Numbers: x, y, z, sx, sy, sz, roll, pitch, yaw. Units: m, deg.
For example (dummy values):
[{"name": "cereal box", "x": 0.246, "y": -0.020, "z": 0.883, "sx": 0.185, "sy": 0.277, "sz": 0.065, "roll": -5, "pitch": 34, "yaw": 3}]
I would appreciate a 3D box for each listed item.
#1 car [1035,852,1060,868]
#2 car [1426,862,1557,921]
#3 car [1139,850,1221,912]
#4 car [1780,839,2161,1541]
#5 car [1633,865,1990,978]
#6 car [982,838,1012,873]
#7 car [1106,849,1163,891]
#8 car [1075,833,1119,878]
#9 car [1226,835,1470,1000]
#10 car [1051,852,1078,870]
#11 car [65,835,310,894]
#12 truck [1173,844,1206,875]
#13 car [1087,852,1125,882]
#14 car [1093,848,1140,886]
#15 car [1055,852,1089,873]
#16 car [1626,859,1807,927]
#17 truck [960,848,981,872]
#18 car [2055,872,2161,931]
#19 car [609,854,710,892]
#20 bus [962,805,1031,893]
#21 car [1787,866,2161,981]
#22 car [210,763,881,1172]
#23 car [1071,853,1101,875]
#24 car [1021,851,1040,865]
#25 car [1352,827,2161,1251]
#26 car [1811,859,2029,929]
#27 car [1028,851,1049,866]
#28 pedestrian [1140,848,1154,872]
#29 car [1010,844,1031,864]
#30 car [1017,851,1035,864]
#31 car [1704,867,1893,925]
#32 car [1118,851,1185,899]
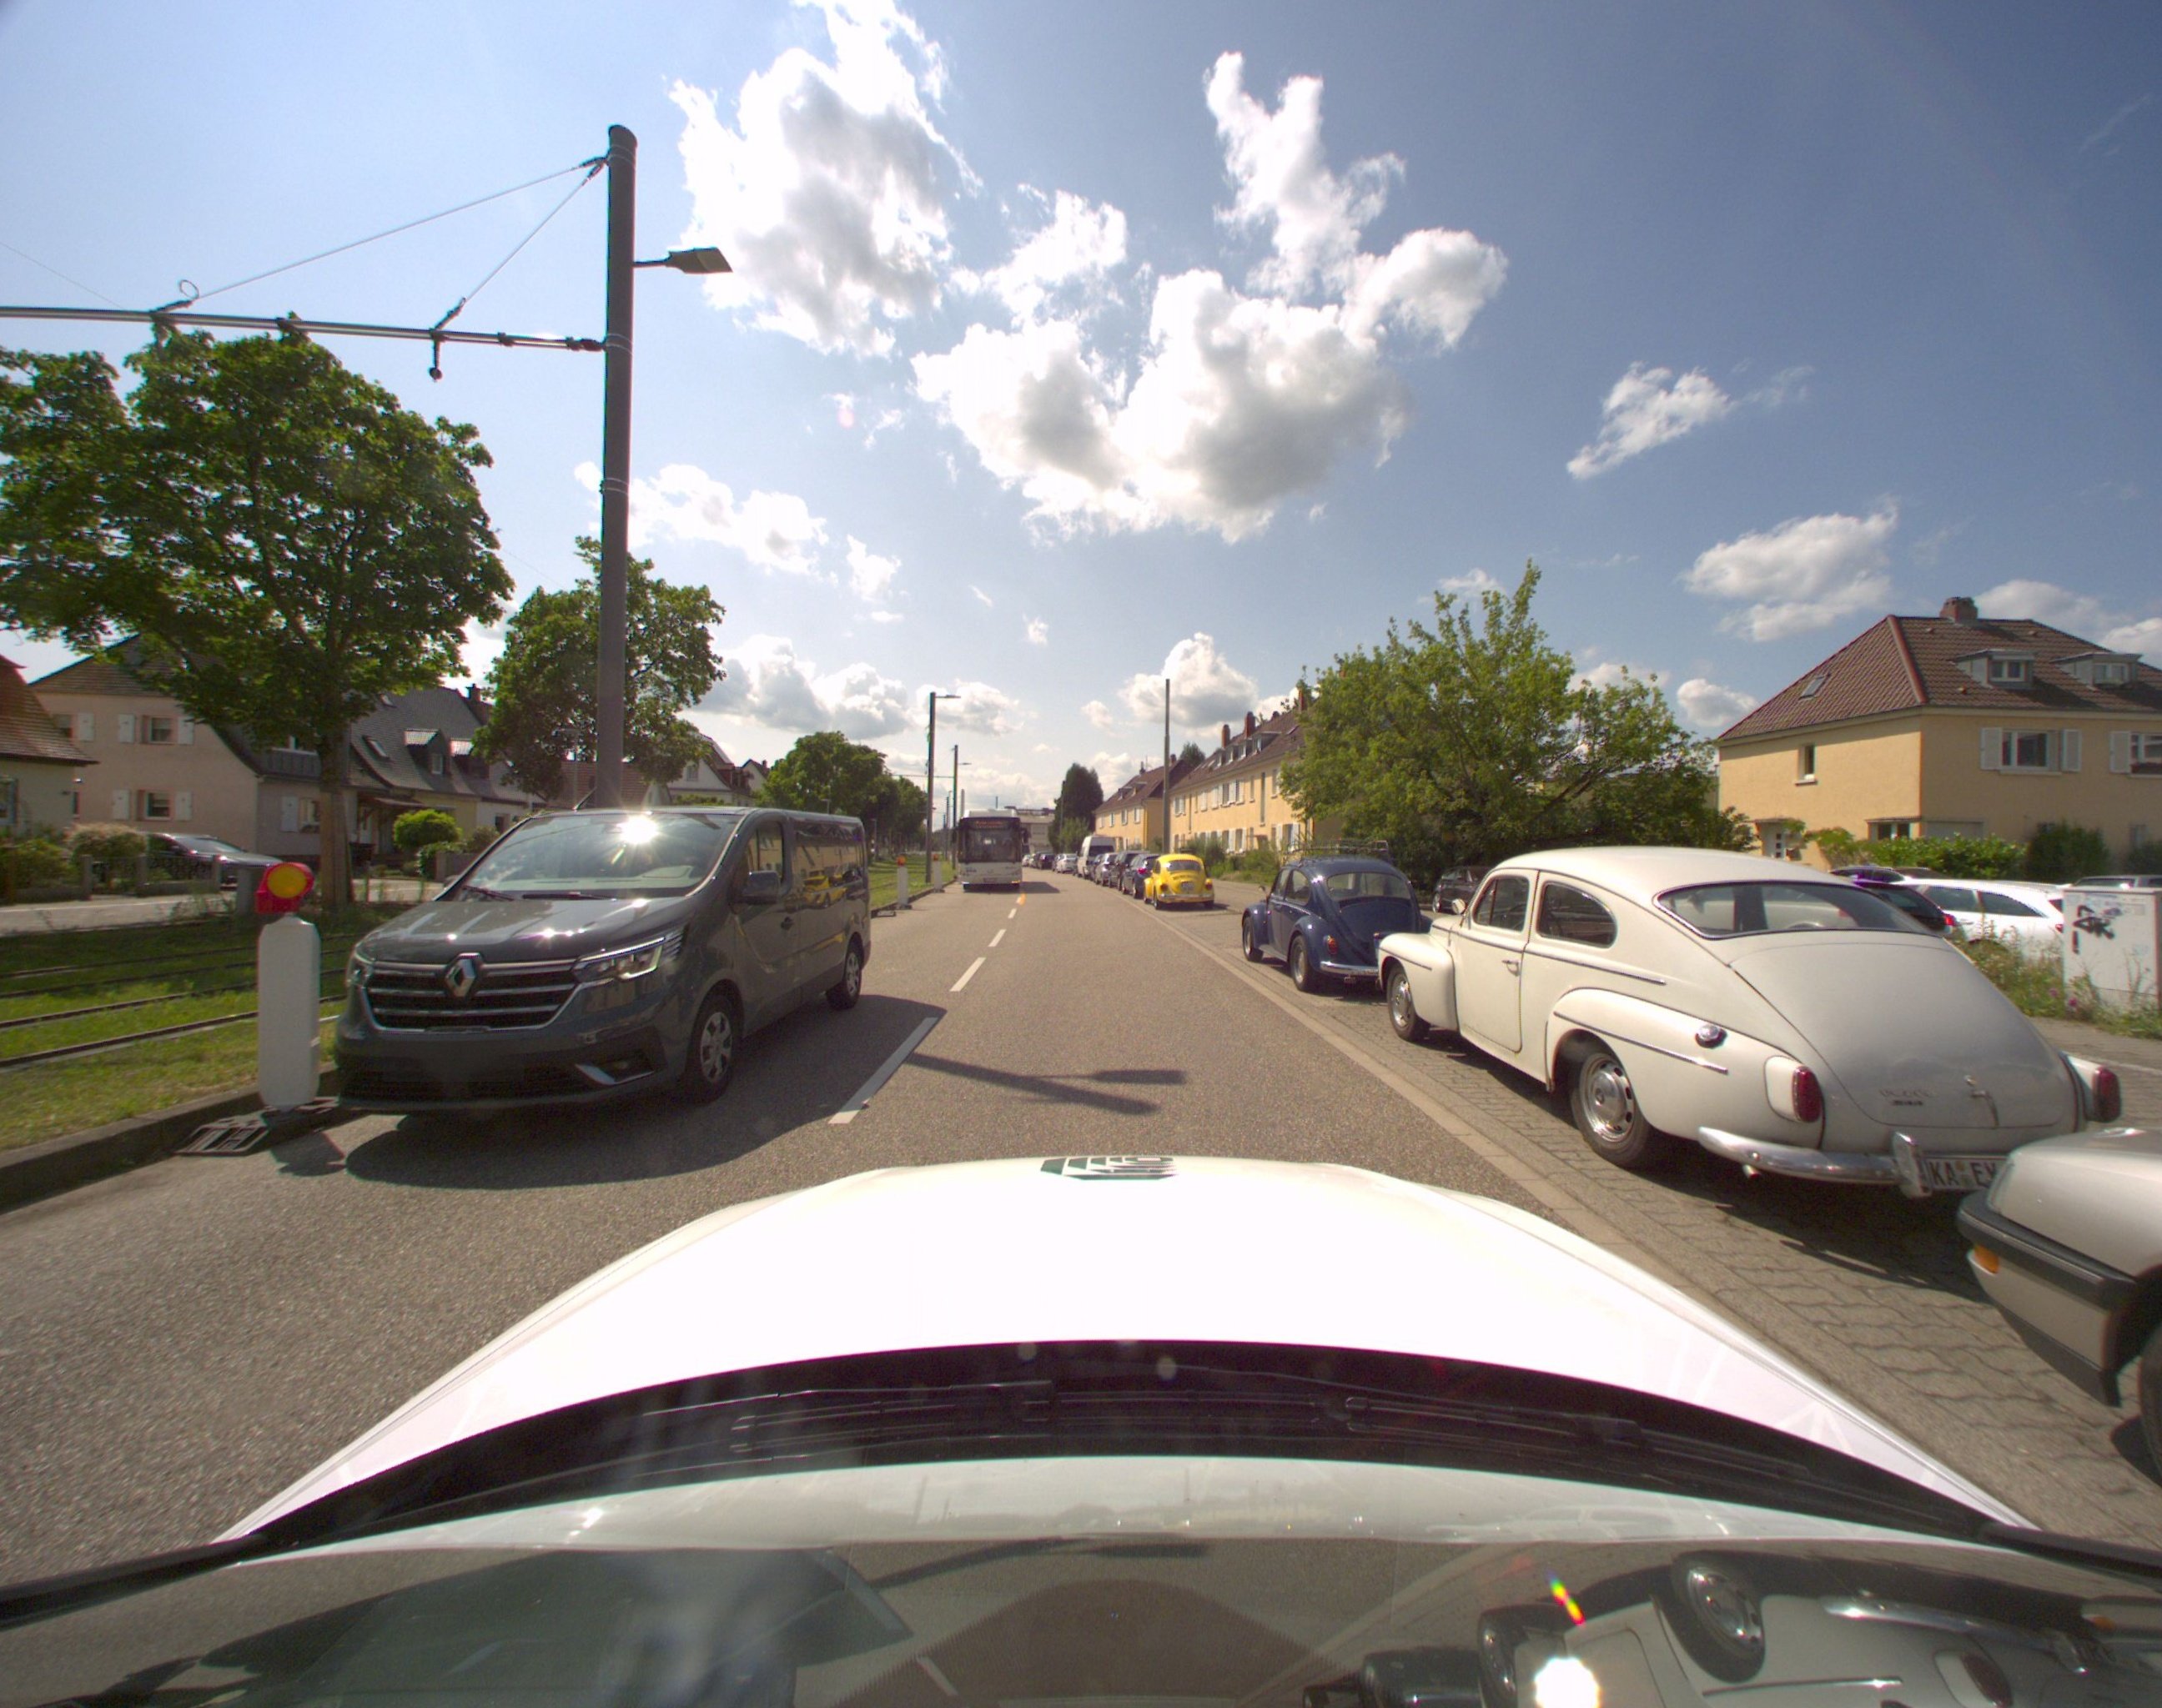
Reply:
[{"name": "car", "x": -3.077, "y": 0.550, "z": 74.419, "sx": 1.763, "sy": 1.417, "sz": 3.987, "roll": -1, "pitch": 0, "yaw": -9}, {"name": "car", "x": 10.719, "y": 0.927, "z": 21.590, "sx": 1.629, "sy": 1.355, "sz": 4.092, "roll": 1, "pitch": 0, "yaw": 4}, {"name": "car", "x": 2.678, "y": 0.680, "z": 22.866, "sx": 1.632, "sy": 1.482, "sz": 3.928, "roll": -2, "pitch": 1, "yaw": -3}, {"name": "car", "x": 3.071, "y": 0.708, "z": 0.202, "sx": 1.701, "sy": 1.449, "sz": 4.835, "roll": 1, "pitch": 0, "yaw": 1}, {"name": "car", "x": 10.673, "y": 0.888, "z": 12.381, "sx": 1.633, "sy": 1.374, "sz": 4.082, "roll": 1, "pitch": 0, "yaw": -4}, {"name": "car", "x": -6.254, "y": 0.106, "z": 61.005, "sx": 2.100, "sy": 2.443, "sz": 5.560, "roll": 1, "pitch": 0, "yaw": -6}, {"name": "car", "x": 2.153, "y": 0.621, "z": 33.480, "sx": 1.634, "sy": 1.602, "sz": 3.922, "roll": 1, "pitch": 0, "yaw": -7}, {"name": "car", "x": 0.837, "y": 0.091, "z": 47.584, "sx": 1.927, "sy": 2.481, "sz": 5.506, "roll": 0, "pitch": 0, "yaw": -6}, {"name": "car", "x": 3.078, "y": 0.642, "z": 10.320, "sx": 1.545, "sy": 1.641, "sz": 4.243, "roll": 1, "pitch": 0, "yaw": -2}, {"name": "car", "x": -1.384, "y": 0.530, "z": 65.693, "sx": 1.620, "sy": 1.417, "sz": 3.987, "roll": -1, "pitch": 0, "yaw": -9}, {"name": "car", "x": -24.884, "y": 0.293, "z": 22.834, "sx": 4.462, "sy": 1.523, "sz": 1.923, "roll": 1, "pitch": 0, "yaw": -5}, {"name": "truck", "x": 6.057, "y": 0.305, "z": 45.692, "sx": 1.344, "sy": 1.688, "sz": 2.436, "roll": 1, "pitch": 0, "yaw": -5}, {"name": "car", "x": 1.237, "y": 0.656, "z": 42.240, "sx": 1.533, "sy": 1.445, "sz": 3.731, "roll": 1, "pitch": 0, "yaw": -5}, {"name": "car", "x": 1.579, "y": 0.564, "z": 37.546, "sx": 1.633, "sy": 1.602, "sz": 4.022, "roll": 1, "pitch": 0, "yaw": -5}, {"name": "car", "x": -0.707, "y": 0.592, "z": 60.167, "sx": 1.799, "sy": 1.458, "sz": 4.748, "roll": -1, "pitch": 0, "yaw": -10}, {"name": "car", "x": 16.867, "y": 0.954, "z": 21.895, "sx": 1.631, "sy": 1.547, "sz": 4.087, "roll": -2, "pitch": 0, "yaw": -1}, {"name": "truck", "x": -16.081, "y": 0.829, "z": 118.516, "sx": 2.561, "sy": 3.459, "sz": 7.122, "roll": -1, "pitch": 0, "yaw": -11}, {"name": "car", "x": 27.565, "y": 1.210, "z": 20.520, "sx": 4.060, "sy": 1.436, "sz": 1.641, "roll": 1, "pitch": -2, "yaw": 0}, {"name": "car", "x": -16.665, "y": 0.705, "z": 32.499, "sx": 1.816, "sy": 1.406, "sz": 4.805, "roll": 1, "pitch": 0, "yaw": -4}, {"name": "bus", "x": -3.856, "y": -0.237, "z": 38.011, "sx": 2.632, "sy": 3.412, "sz": 12.226, "roll": -1, "pitch": 0, "yaw": -5}, {"name": "car", "x": 13.354, "y": 0.912, "z": 12.333, "sx": 1.633, "sy": 1.374, "sz": 4.082, "roll": 1, "pitch": 0, "yaw": -4}, {"name": "car", "x": -3.230, "y": 0.540, "z": 6.583, "sx": 1.949, "sy": 1.966, "sz": 5.291, "roll": 0, "pitch": 0, "yaw": -1}, {"name": "car", "x": 0.278, "y": 0.633, "z": 52.430, "sx": 1.341, "sy": 1.340, "sz": 3.276, "roll": 1, "pitch": -1, "yaw": -10}, {"name": "car", "x": -5.619, "y": 0.449, "z": 90.430, "sx": 1.763, "sy": 1.439, "sz": 3.987, "roll": -1, "pitch": 0, "yaw": -9}, {"name": "car", "x": 3.234, "y": 0.669, "z": 5.182, "sx": 1.572, "sy": 1.513, "sz": 4.460, "roll": 1, "pitch": 0, "yaw": 1}, {"name": "car", "x": 22.243, "y": 1.045, "z": 21.866, "sx": 1.631, "sy": 1.665, "sz": 4.086, "roll": 1, "pitch": -2, "yaw": -1}, {"name": "car", "x": -4.436, "y": 0.464, "z": 84.332, "sx": 1.763, "sy": 1.476, "sz": 3.987, "roll": -1, "pitch": 0, "yaw": -9}, {"name": "pedestrian", "x": 4.543, "y": 0.416, "z": 56.343, "sx": 0.852, "sy": 1.652, "sz": 0.636, "roll": 1, "pitch": 0, "yaw": -5}, {"name": "car", "x": -7.563, "y": -0.022, "z": 101.504, "sx": 1.960, "sy": 2.478, "sz": 6.038, "roll": -1, "pitch": 0, "yaw": -10}, {"name": "car", "x": -6.455, "y": 0.415, "z": 95.486, "sx": 1.763, "sy": 1.502, "sz": 3.987, "roll": -1, "pitch": 0, "yaw": -9}, {"name": "car", "x": 19.619, "y": 1.088, "z": 22.535, "sx": 1.631, "sy": 1.401, "sz": 4.086, "roll": 1, "pitch": -1, "yaw": -1}, {"name": "car", "x": 2.338, "y": 0.670, "z": 28.010, "sx": 1.633, "sy": 1.482, "sz": 4.117, "roll": 1, "pitch": 0, "yaw": -5}]
